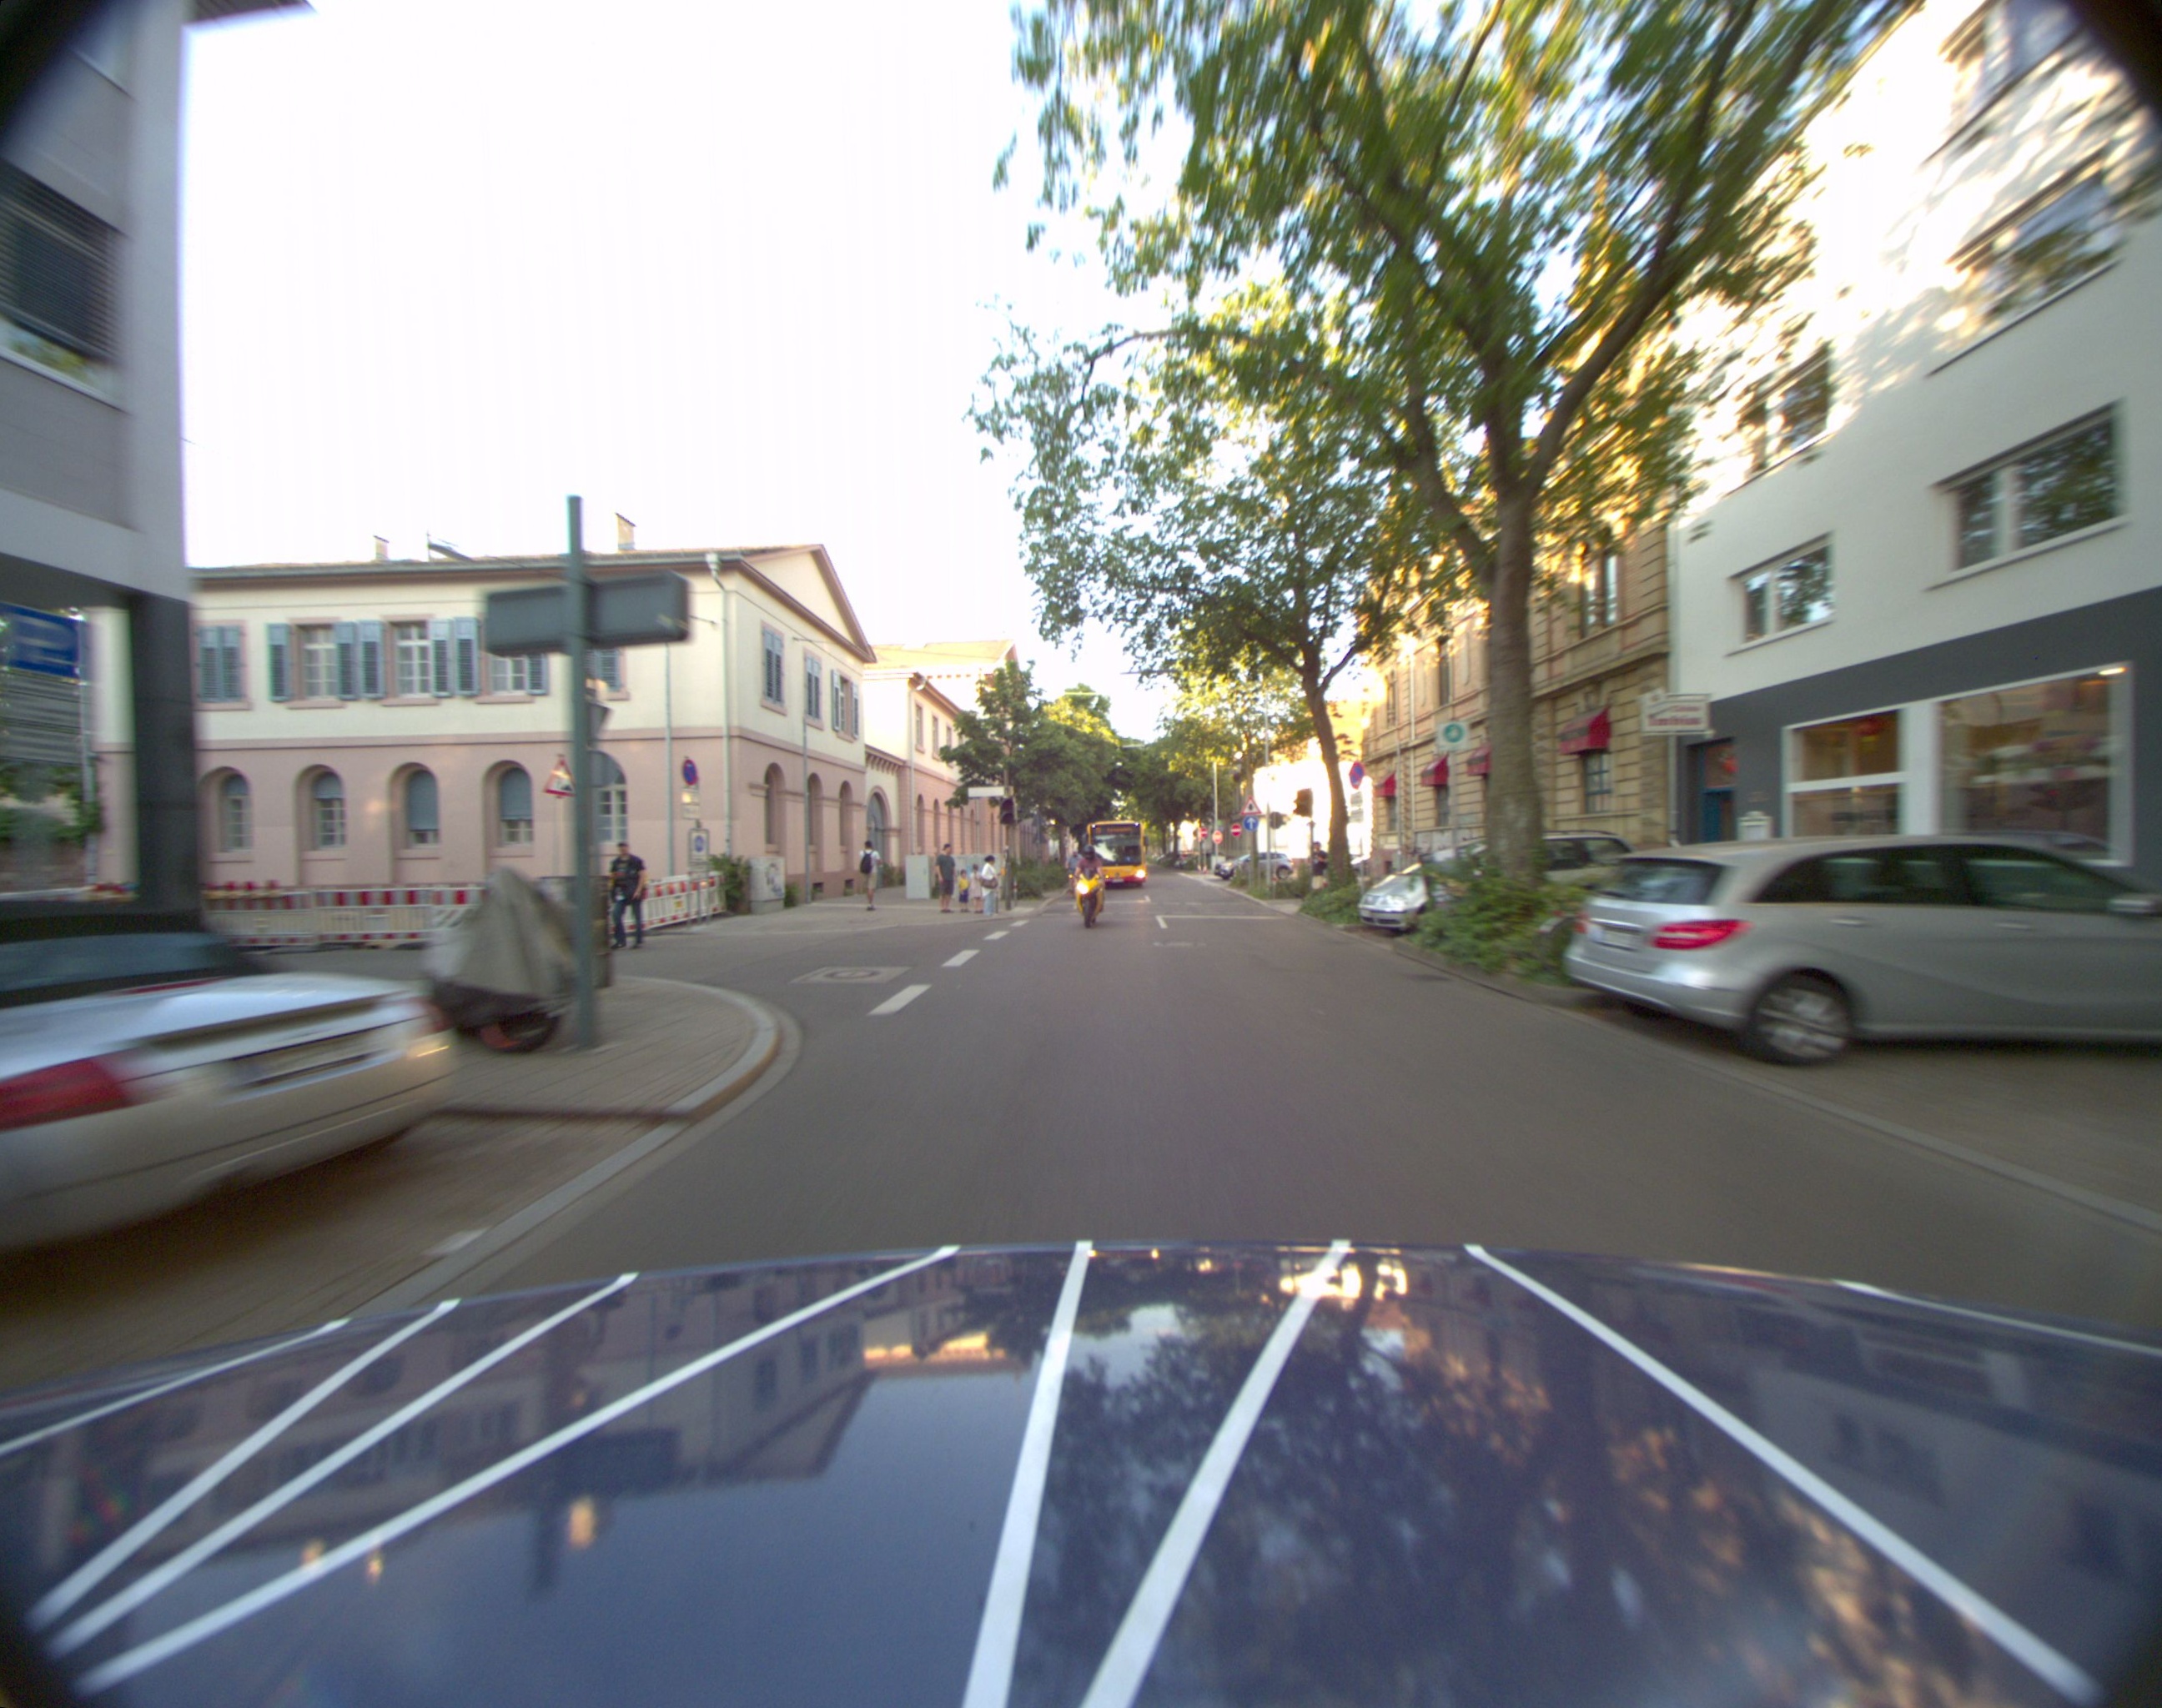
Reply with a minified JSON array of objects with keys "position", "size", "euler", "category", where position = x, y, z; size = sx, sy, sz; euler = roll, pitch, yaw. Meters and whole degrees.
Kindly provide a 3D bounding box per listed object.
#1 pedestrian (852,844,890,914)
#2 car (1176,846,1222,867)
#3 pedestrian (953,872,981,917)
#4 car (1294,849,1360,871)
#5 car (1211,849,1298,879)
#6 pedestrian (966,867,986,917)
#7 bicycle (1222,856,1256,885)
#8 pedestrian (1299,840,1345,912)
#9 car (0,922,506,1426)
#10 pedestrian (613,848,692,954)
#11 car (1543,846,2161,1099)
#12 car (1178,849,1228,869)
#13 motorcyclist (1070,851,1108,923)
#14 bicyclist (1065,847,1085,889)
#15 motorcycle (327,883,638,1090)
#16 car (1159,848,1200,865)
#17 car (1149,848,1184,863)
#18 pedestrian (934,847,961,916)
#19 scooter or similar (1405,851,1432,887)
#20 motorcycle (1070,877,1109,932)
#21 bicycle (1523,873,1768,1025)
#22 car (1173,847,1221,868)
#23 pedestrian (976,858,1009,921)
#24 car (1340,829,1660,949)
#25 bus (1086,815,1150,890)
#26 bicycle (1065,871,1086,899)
[{"position":[-5.625,0.655,20.387],"size":[0.699,1.844,1.049],"euler":[0,1,0],"category":"pedestrian"},{"position":[11.127,0.203,71.850],"size":[3.999,1.940,1.999],"euler":[-1,1,-5],"category":"car"},{"position":[-3.036,1.064,20.239],"size":[0.491,1.138,0.547],"euler":[2,1,41],"category":"pedestrian"},{"position":[17.700,0.464,54.658],"size":[4.260,1.521,1.836],"euler":[-1,1,27],"category":"car"},{"position":[9.742,0.536,42.732],"size":[4.362,1.561,1.945],"euler":[-1,2,-14],"category":"car"},{"position":[-2.697,0.962,19.619],"size":[0.451,1.254,0.490],"euler":[1,1,-3],"category":"pedestrian"},{"position":[7.208,0.723,34.592],"size":[0.805,1.217,2.422],"euler":[-5,-2,28],"category":"bicycle"},{"position":[6.188,0.552,19.509],"size":[0.833,1.767,0.764],"euler":[-3,2,-35],"category":"pedestrian"},{"position":[-5.086,1.047,3.275],"size":[3.995,1.325,1.795],"euler":[-1,1,7],"category":"car"},{"position":[-7.484,0.794,13.325],"size":[0.698,1.785,1.066],"euler":[-1,1,4],"category":"pedestrian"},{"position":[6.149,0.762,5.713],"size":[4.179,1.548,1.827],"euler":[-1,1,6],"category":"car"},{"position":[10.692,0.424,66.684],"size":[3.999,1.660,1.799],"euler":[-1,1,-5],"category":"car"},{"position":[0.168,0.648,15.201],"size":[0.737,1.404,0.727],"euler":[0,0,3],"category":"motorcyclist"},{"position":[-0.236,0.524,28.927],"size":[0.637,1.552,0.819],"euler":[-3,0,2],"category":"bicyclist"},{"position":[-4.725,0.957,6.051],"size":[1.910,1.384,1.001],"euler":[0,1,17],"category":"motorcycle"},{"position":[10.565,0.272,81.718],"size":[3.999,1.699,1.999],"euler":[-1,1,-5],"category":"car"},{"position":[10.441,0.163,92.780],"size":[3.999,1.699,1.844],"euler":[-1,1,-5],"category":"car"},{"position":[-3.488,0.701,19.874],"size":[0.544,1.764,0.576],"euler":[1,1,5],"category":"pedestrian"},{"position":[11.765,0.531,26.481],"size":[0.385,1.191,1.274],"euler":[-3,-1,4],"category":"scooter or similar"},{"position":[0.209,1.030,16.004],"size":[0.737,1.053,1.965],"euler":[0,0,3],"category":"motorcycle"},{"position":[5.385,0.874,7.327],"size":[1.799,1.319,0.774],"euler":[-1,1,-2],"category":"bicycle"},{"position":[10.565,0.333,69.402],"size":[3.999,1.801,1.799],"euler":[-1,1,-5],"category":"car"},{"position":[-2.188,0.867,18.773],"size":[0.600,1.503,0.719],"euler":[1,1,-25],"category":"pedestrian"},{"position":[7.072,0.565,13.198],"size":[4.435,1.712,1.891],"euler":[-3,1,2],"category":"car"},{"position":[1.960,-0.129,39.177],"size":[2.667,3.176,11.900],"euler":[-2,0,3],"category":"bus"},{"position":[-0.199,1.161,29.001],"size":[0.637,0.977,1.981],"euler":[-3,0,2],"category":"bicycle"}]
